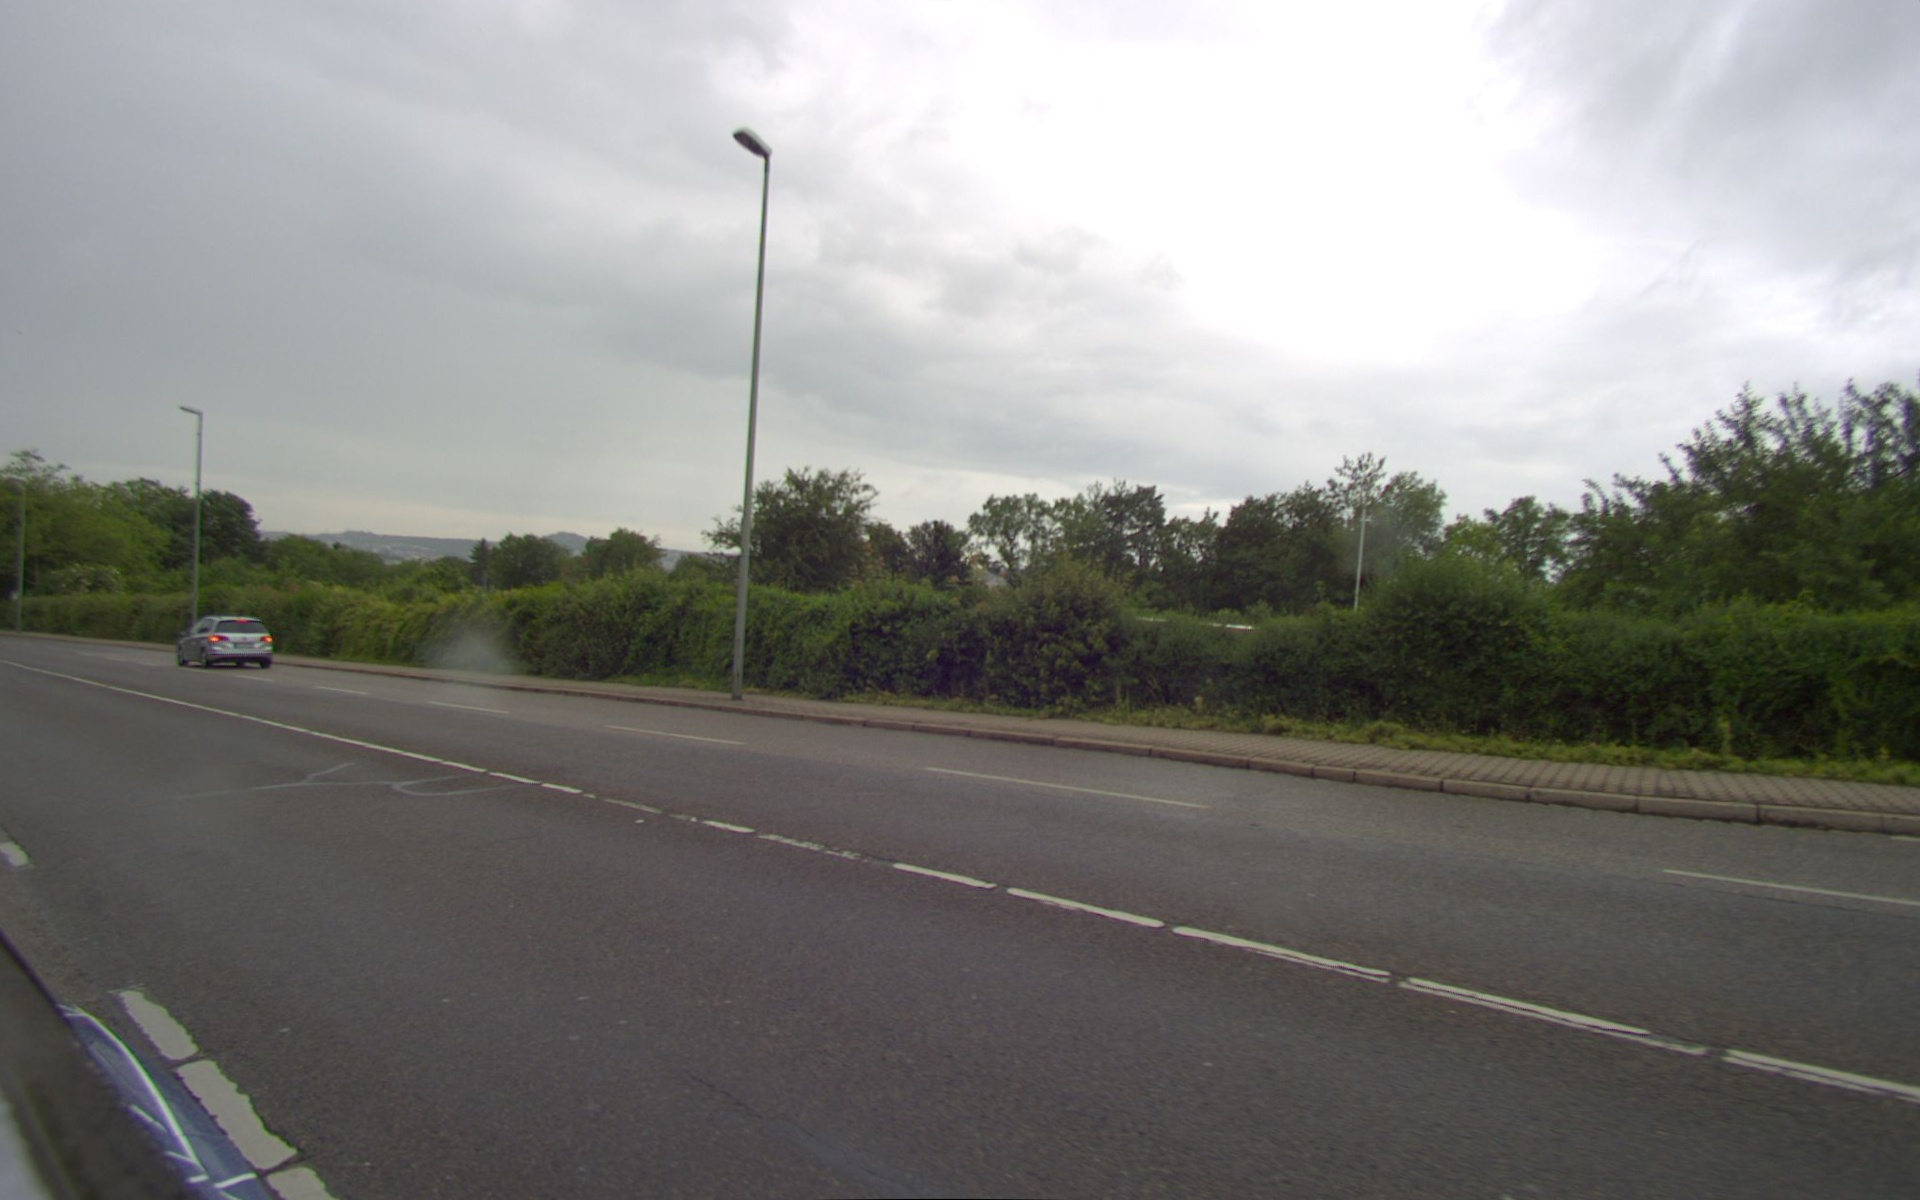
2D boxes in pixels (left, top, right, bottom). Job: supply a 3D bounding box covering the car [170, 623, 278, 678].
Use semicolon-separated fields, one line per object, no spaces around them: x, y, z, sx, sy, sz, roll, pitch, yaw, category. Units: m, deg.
-22.918;1.541;31.473;3.996;1.580;1.738;-1;-3;40;car
